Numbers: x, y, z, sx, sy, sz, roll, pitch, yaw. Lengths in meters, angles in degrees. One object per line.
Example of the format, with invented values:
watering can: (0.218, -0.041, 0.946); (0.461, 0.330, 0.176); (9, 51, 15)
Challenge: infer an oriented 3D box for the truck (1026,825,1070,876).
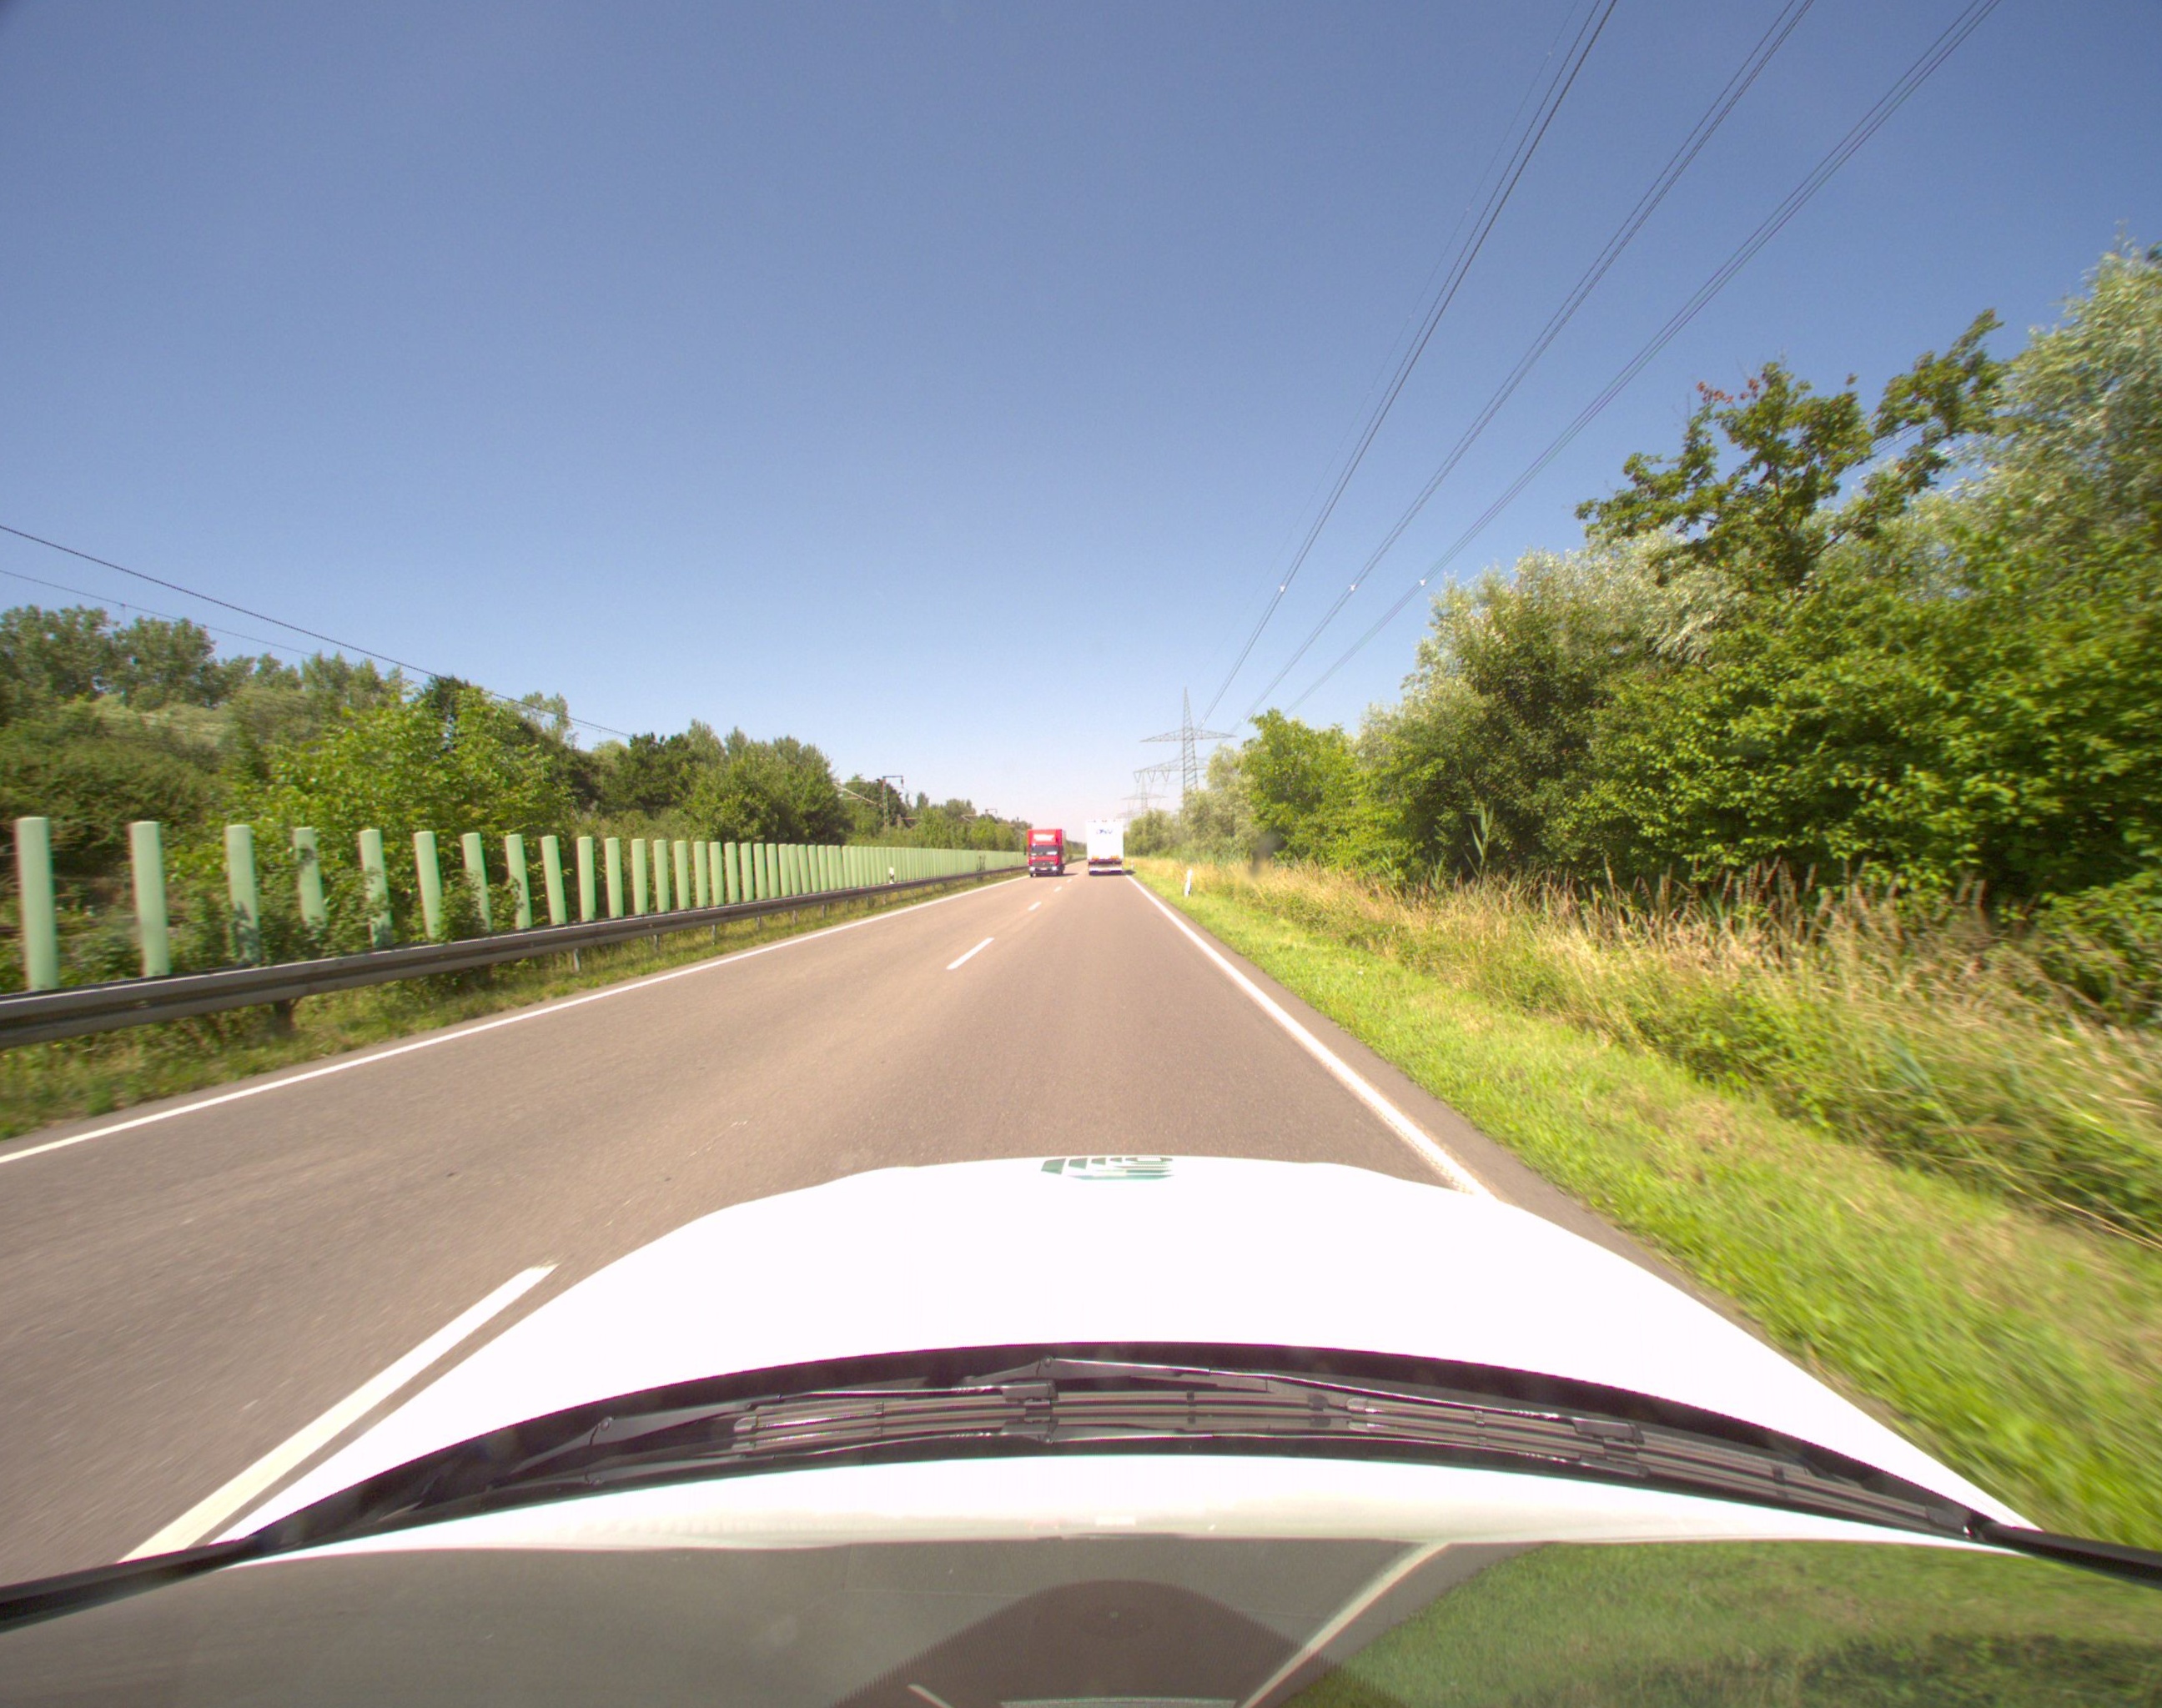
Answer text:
truck: (-2.477, -0.255, 64.124); (2.724, 3.599, 9.529); (-2, 0, 1)

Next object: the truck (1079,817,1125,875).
truck: (1.627, -0.561, 63.566); (3.181, 4.042, 12.009); (-2, 0, 1)
